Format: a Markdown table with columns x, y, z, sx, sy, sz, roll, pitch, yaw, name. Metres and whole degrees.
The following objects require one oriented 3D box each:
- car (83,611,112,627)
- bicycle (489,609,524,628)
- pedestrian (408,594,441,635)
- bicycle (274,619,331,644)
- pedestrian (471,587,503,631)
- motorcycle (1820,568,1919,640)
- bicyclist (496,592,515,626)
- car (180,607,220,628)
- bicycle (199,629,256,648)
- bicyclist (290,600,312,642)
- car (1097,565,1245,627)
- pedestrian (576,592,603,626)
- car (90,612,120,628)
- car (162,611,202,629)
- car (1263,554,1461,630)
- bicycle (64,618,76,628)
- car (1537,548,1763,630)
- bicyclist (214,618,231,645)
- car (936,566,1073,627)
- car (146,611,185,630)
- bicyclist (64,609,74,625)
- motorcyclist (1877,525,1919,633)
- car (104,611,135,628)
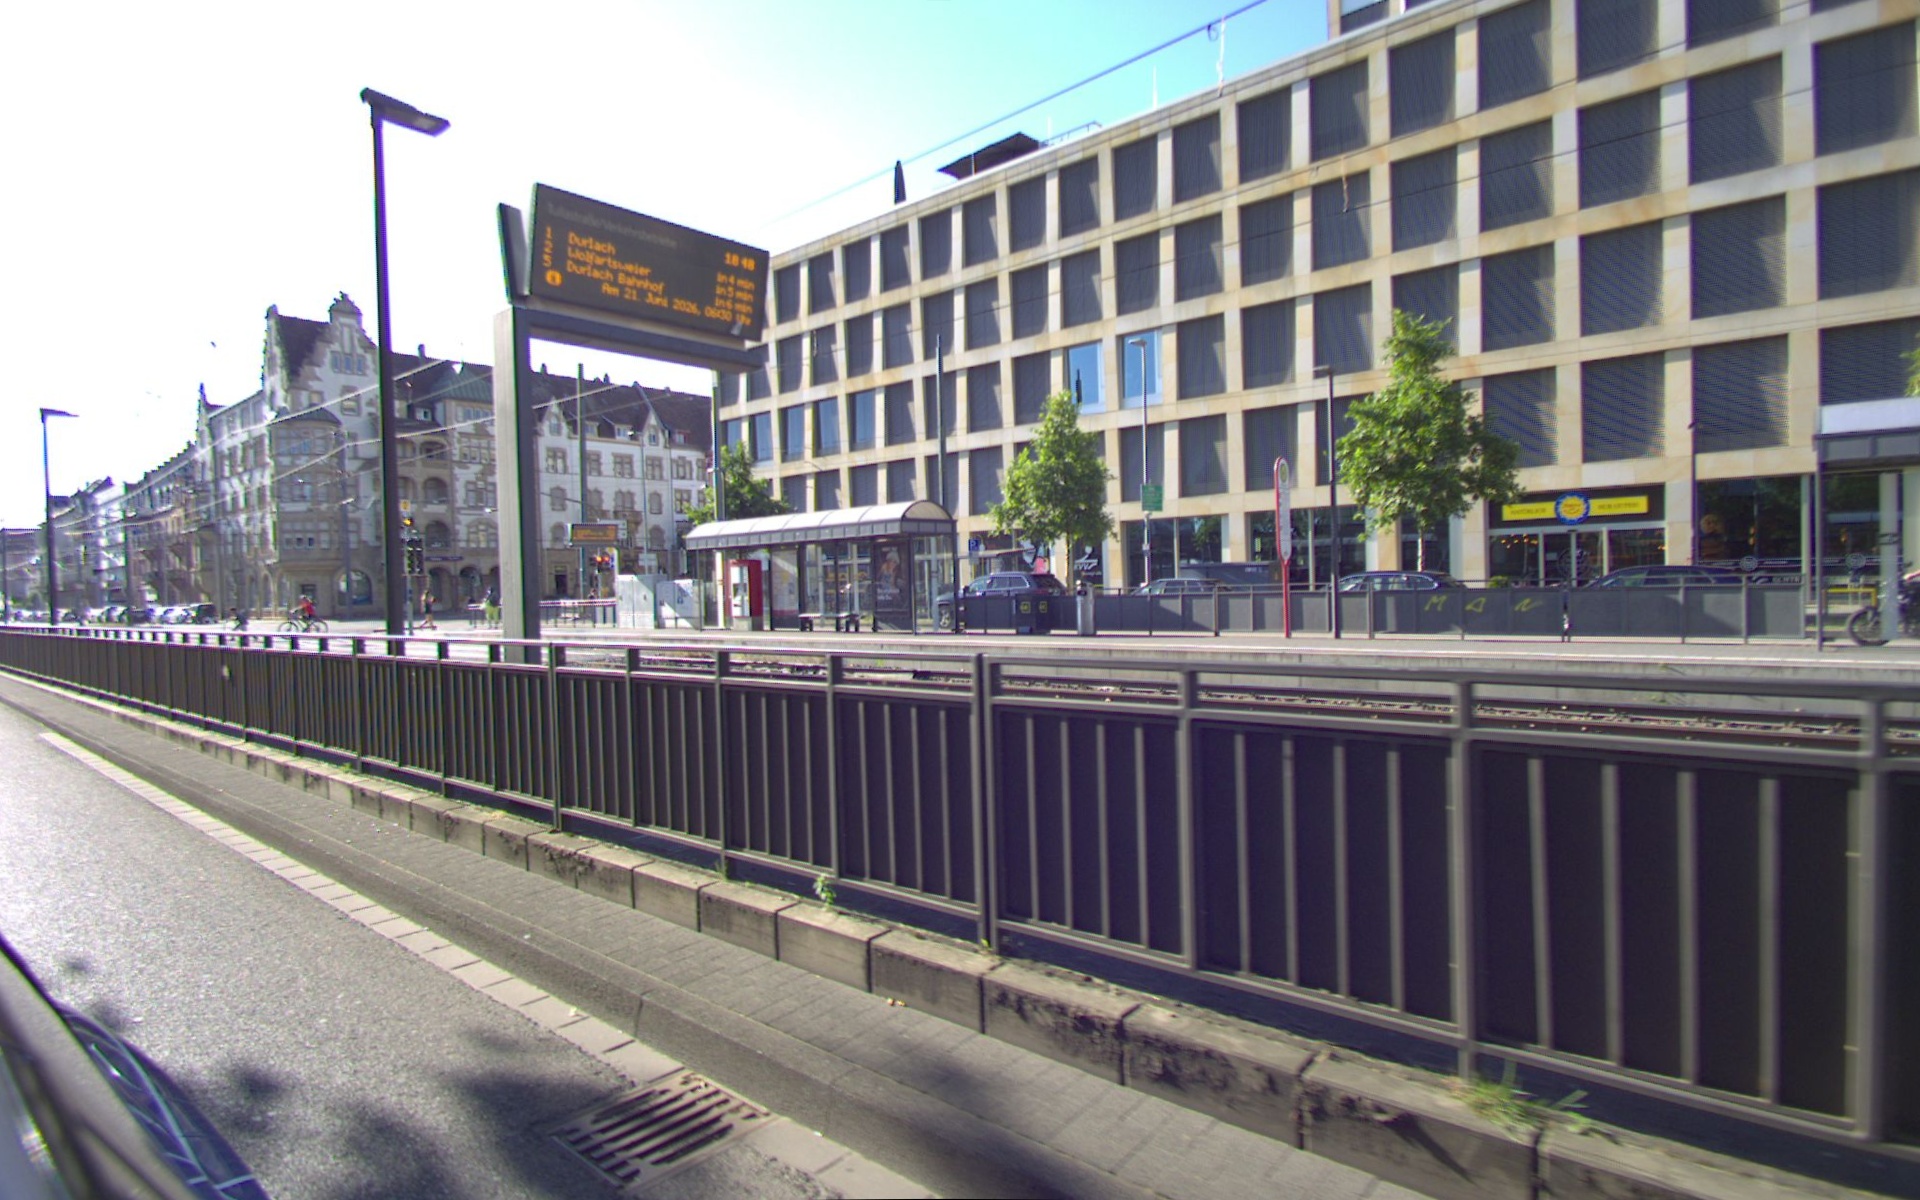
| x | y | z | sx | sy | sz | roll | pitch | yaw | name |
| --- | --- | --- | --- | --- | --- | --- | --- | --- | --- |
| -93.556 | 2.095 | 109.724 | 3.998 | 1.536 | 1.719 | -1 | 3 | 41 | car |
| -24.795 | 1.001 | 55.348 | 0.511 | 0.918 | 1.874 | -1 | 1 | 23 | bicycle |
| -22.700 | 0.604 | 42.924 | 0.792 | 1.656 | 0.924 | -2 | 1 | 28 | pedestrian |
| -26.669 | 1.269 | 41.059 | 1.861 | 0.884 | 0.608 | -3 | 1 | -41 | bicycle |
| -18.209 | 0.339 | 38.950 | 0.933 | 1.656 | 0.785 | -1 | 1 | 42 | pedestrian |
| 13.870 | 0.057 | 14.880 | 1.841 | 1.029 | 0.598 | -1 | 1 | 42 | motorcycle |
| -24.822 | 0.466 | 55.287 | 0.643 | 1.821 | 0.663 | -2 | 1 | 24 | bicyclist |
| -63.347 | 1.462 | 84.308 | 3.996 | 1.682 | 1.758 | -2 | 1 | 40 | car |
| -28.260 | 1.478 | 39.056 | 1.700 | 0.613 | 0.512 | -4 | 2 | -40 | bicycle |
| -26.704 | 0.849 | 41.005 | 0.620 | 1.630 | 0.685 | -3 | 1 | -41 | bicyclist |
| 5.759 | -0.081 | 27.841 | 3.649 | 1.573 | 1.627 | -1 | 1 | 42 | car |
| -18.633 | 0.441 | 50.902 | 0.792 | 1.656 | 0.924 | -2 | 1 | 28 | pedestrian |
| -89.657 | 2.063 | 106.139 | 3.998 | 1.536 | 1.719 | -1 | 3 | 41 | car |
| -67.566 | 1.757 | 87.905 | 4.427 | 1.487 | 1.706 | -2 | 1 | 39 | car |
| 9.665 | -0.175 | 24.498 | 3.999 | 1.675 | 1.973 | -1 | 1 | 42 | car |
| -94.496 | 2.418 | 107.411 | 2.066 | 1.010 | 0.600 | -1 | 1 | 39 | bicycle |
| 13.962 | -0.196 | 20.586 | 3.599 | 1.523 | 1.627 | -1 | 1 | 42 | car |
| -28.369 | 1.214 | 38.938 | 0.456 | 1.001 | 0.512 | -2 | 1 | -39 | bicyclist |
| 1.368 | -0.079 | 31.916 | 3.999 | 1.782 | 1.898 | -1 | 1 | 42 | car |
| -71.729 | 1.858 | 91.340 | 3.992 | 1.536 | 1.721 | -2 | 2 | 36 | car |
| -94.511 | 1.840 | 107.379 | 0.629 | 1.630 | 0.675 | -2 | 1 | 38 | bicyclist |
| 13.930 | -0.312 | 14.784 | 0.765 | 1.545 | 0.569 | -1 | 1 | 42 | motorcyclist |
| -84.921 | 2.009 | 102.209 | 3.998 | 1.536 | 1.719 | -1 | 3 | 41 | car |
